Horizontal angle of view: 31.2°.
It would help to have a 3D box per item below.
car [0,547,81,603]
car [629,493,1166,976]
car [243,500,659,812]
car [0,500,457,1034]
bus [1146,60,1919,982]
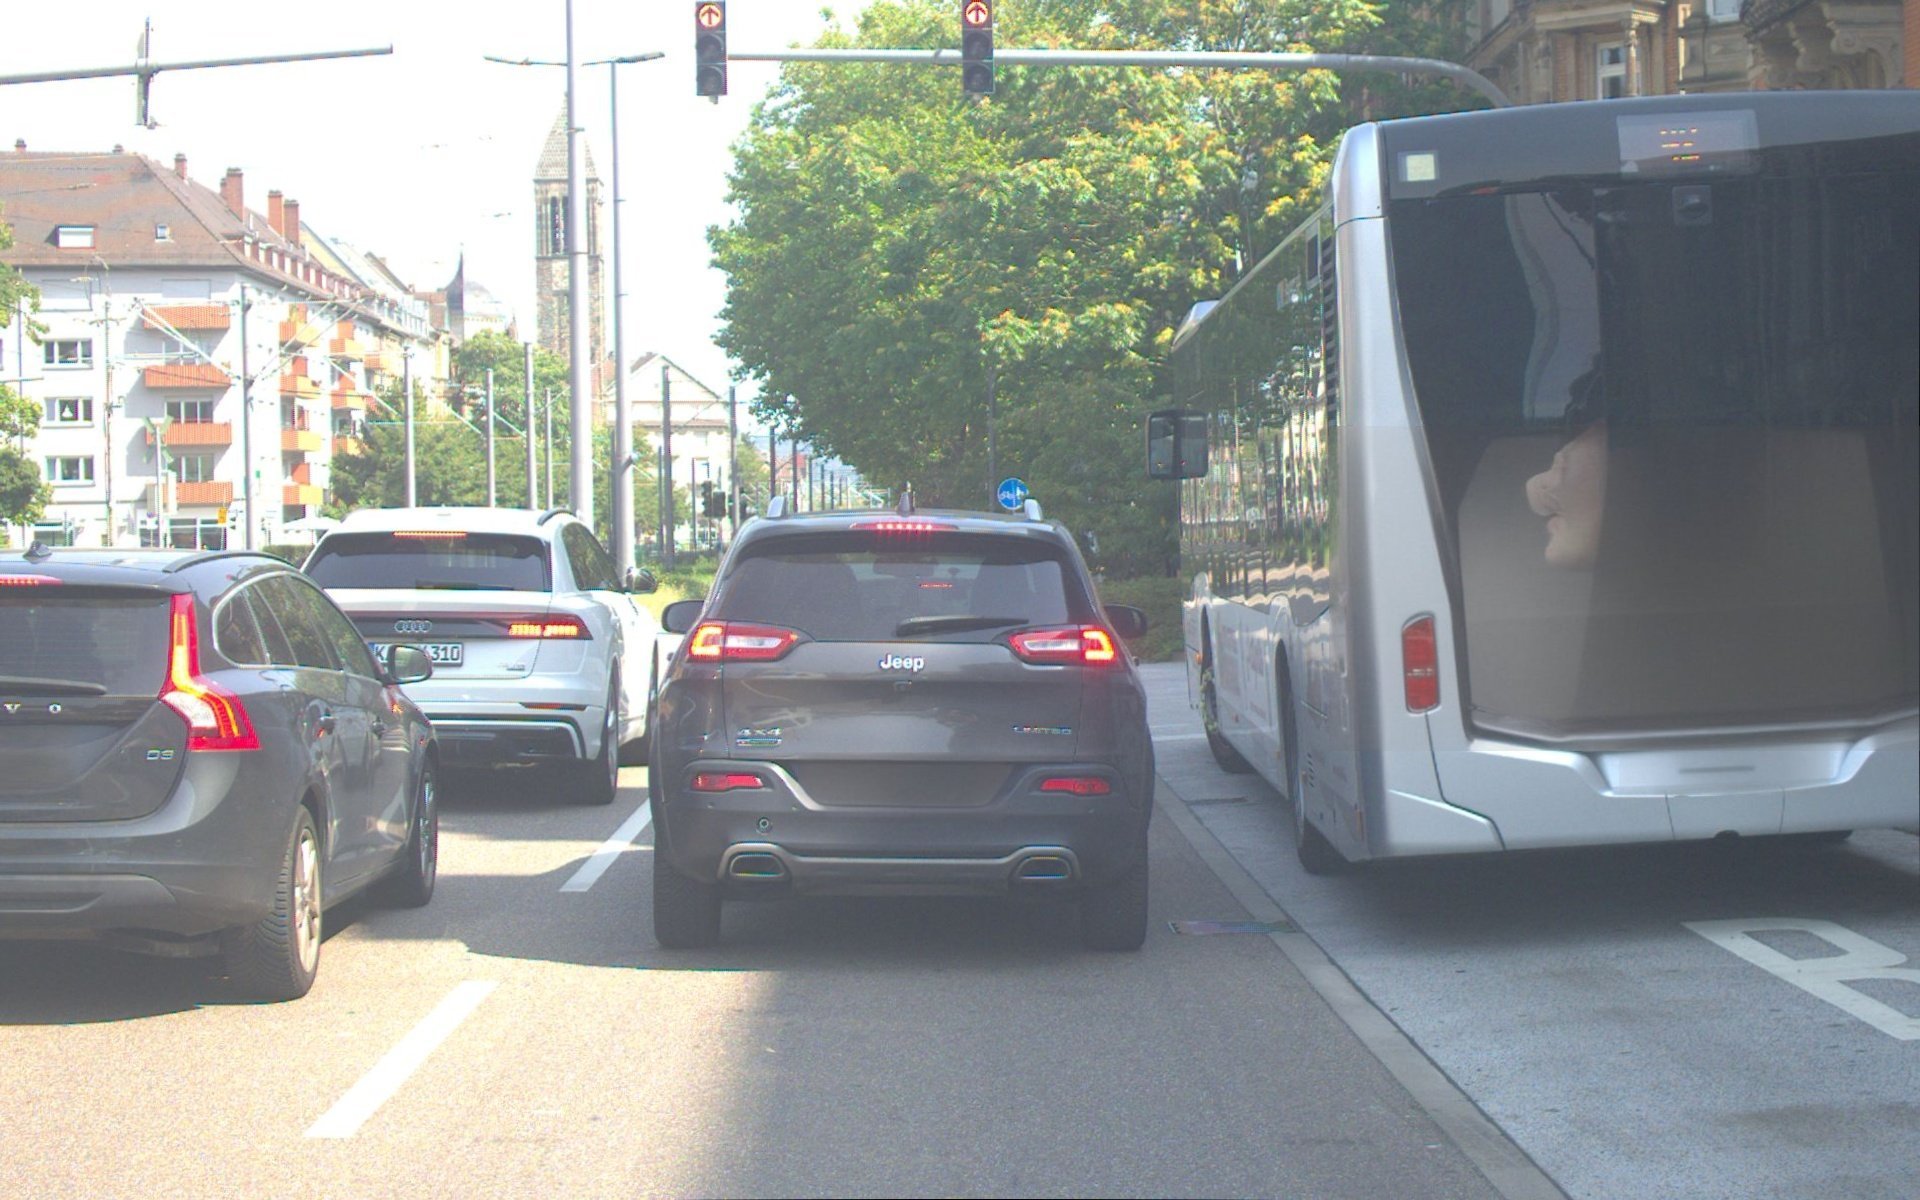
[{"bbox_3d":[-25.722,-0.696,95.059,1.746,1.430,4.574,-2,1,-2],"label":"car"},{"bbox_3d":[-0.218,0.417,13.969,1.832,1.646,4.308,0,1,0],"label":"car"},{"bbox_3d":[-2.877,0.249,20.335,1.902,1.646,4.309,0,1,-1],"label":"car"},{"bbox_3d":[-2.984,0.459,12.525,1.747,1.609,4.309,0,1,-1],"label":"car"},{"bbox_3d":[2.707,-0.393,17.976,2.743,3.096,11.956,-3,1,1],"label":"bus"}]
